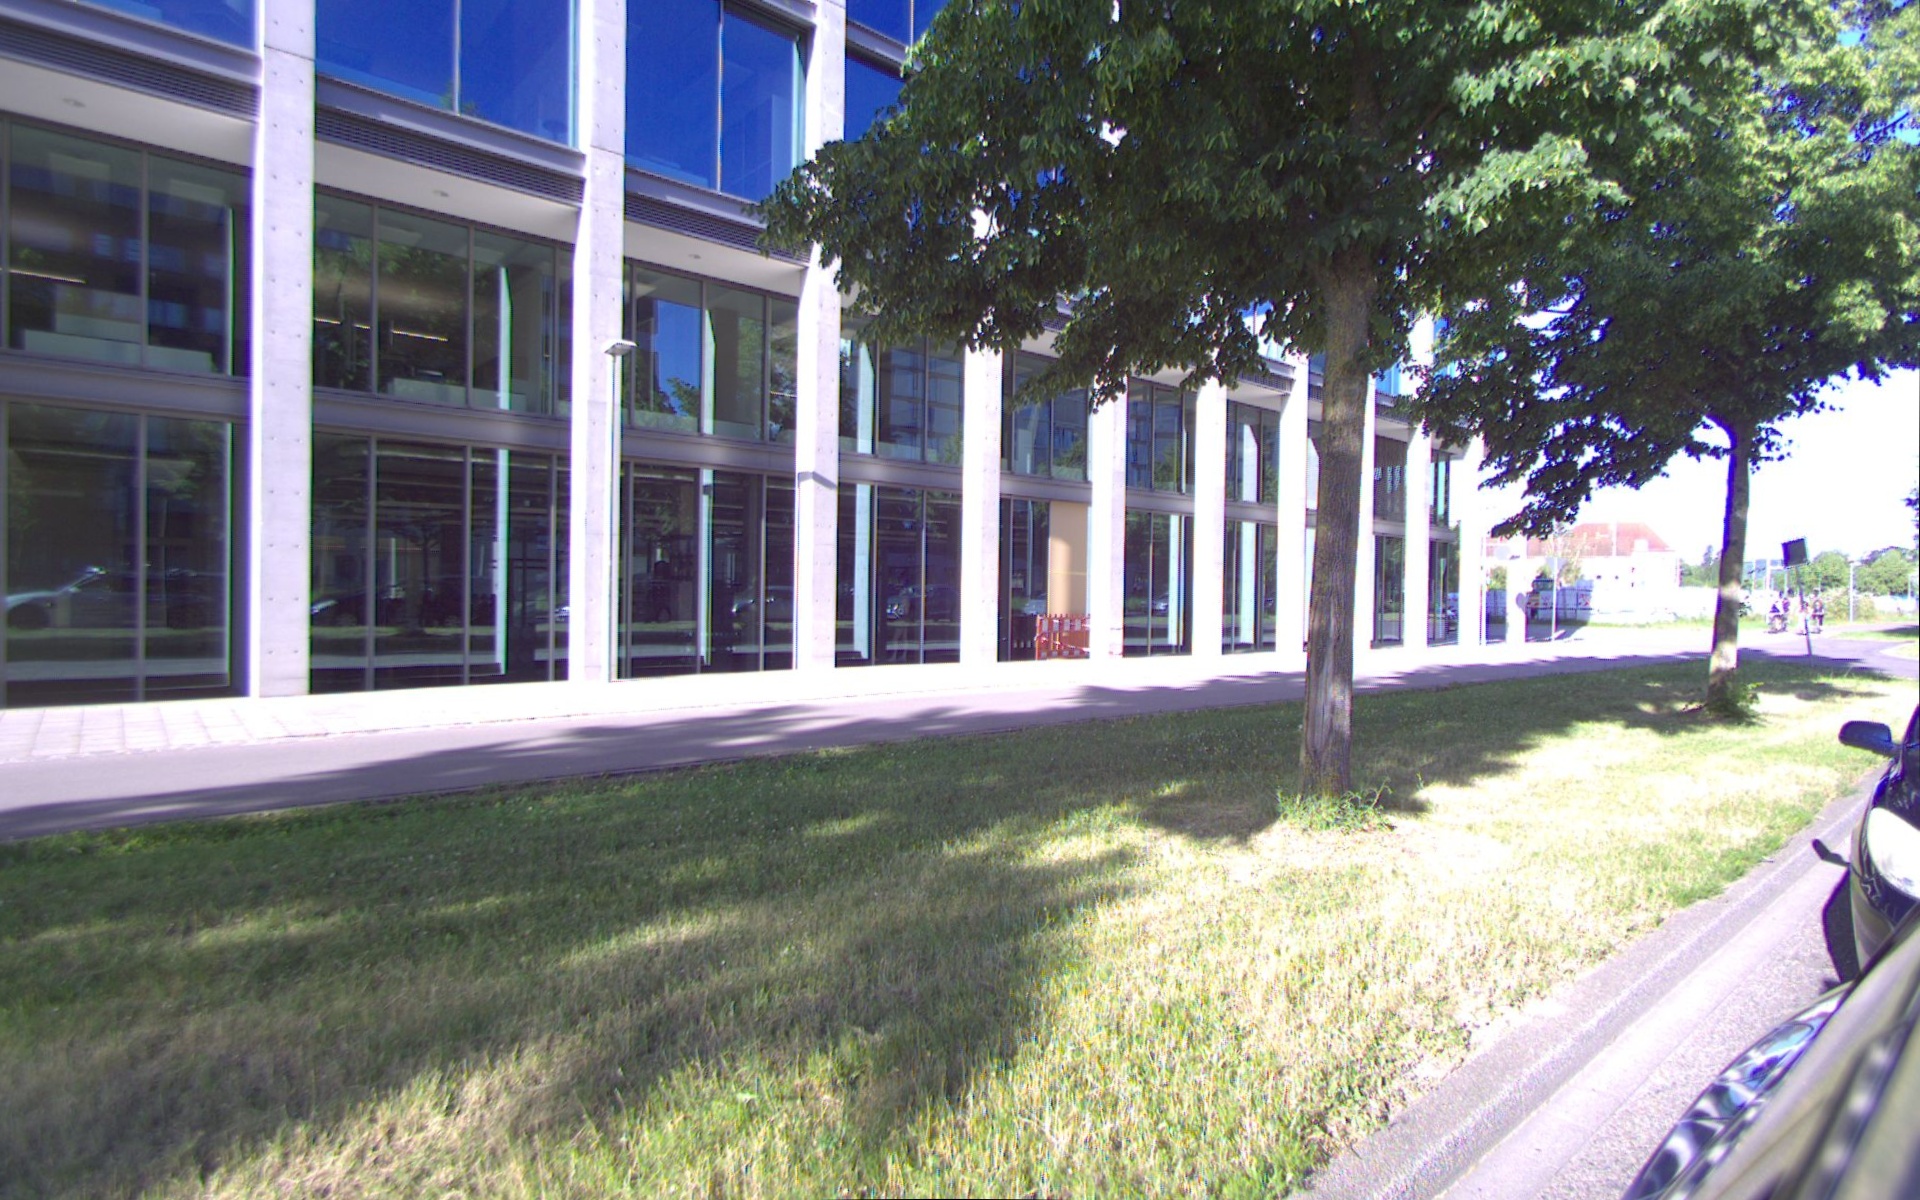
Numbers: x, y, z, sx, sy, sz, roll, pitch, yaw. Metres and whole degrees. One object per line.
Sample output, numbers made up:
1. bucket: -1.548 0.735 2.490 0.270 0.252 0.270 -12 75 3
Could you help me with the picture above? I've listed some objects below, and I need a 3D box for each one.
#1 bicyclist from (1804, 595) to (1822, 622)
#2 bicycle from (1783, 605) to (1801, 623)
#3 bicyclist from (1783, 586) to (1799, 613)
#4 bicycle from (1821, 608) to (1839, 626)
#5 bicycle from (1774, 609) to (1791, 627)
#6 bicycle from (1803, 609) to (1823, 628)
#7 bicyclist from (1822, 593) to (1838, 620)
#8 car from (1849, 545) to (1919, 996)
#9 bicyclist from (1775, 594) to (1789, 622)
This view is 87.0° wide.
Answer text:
1. bicyclist: 39.160 0.402 46.462 0.498 1.232 0.534 0 0 -40
2. bicycle: 41.114 0.677 50.030 1.321 0.828 0.464 -1 0 -40
3. bicyclist: 41.088 -0.031 50.026 0.449 1.305 0.534 0 0 -40
4. bicycle: 42.258 0.803 49.164 1.321 0.828 0.464 -1 0 -40
5. bicycle: 38.249 0.833 47.058 1.296 0.828 0.415 -1 0 -40
6. bicycle: 39.183 0.833 46.476 1.321 0.828 0.464 -1 0 -40
7. bicyclist: 42.330 0.322 49.246 0.512 1.305 0.534 0 0 -40
8. car: 5.109 0.591 4.166 3.719 1.541 1.685 0 1 -41
9. bicyclist: 38.203 0.365 47.037 0.410 1.305 0.448 0 0 -40
